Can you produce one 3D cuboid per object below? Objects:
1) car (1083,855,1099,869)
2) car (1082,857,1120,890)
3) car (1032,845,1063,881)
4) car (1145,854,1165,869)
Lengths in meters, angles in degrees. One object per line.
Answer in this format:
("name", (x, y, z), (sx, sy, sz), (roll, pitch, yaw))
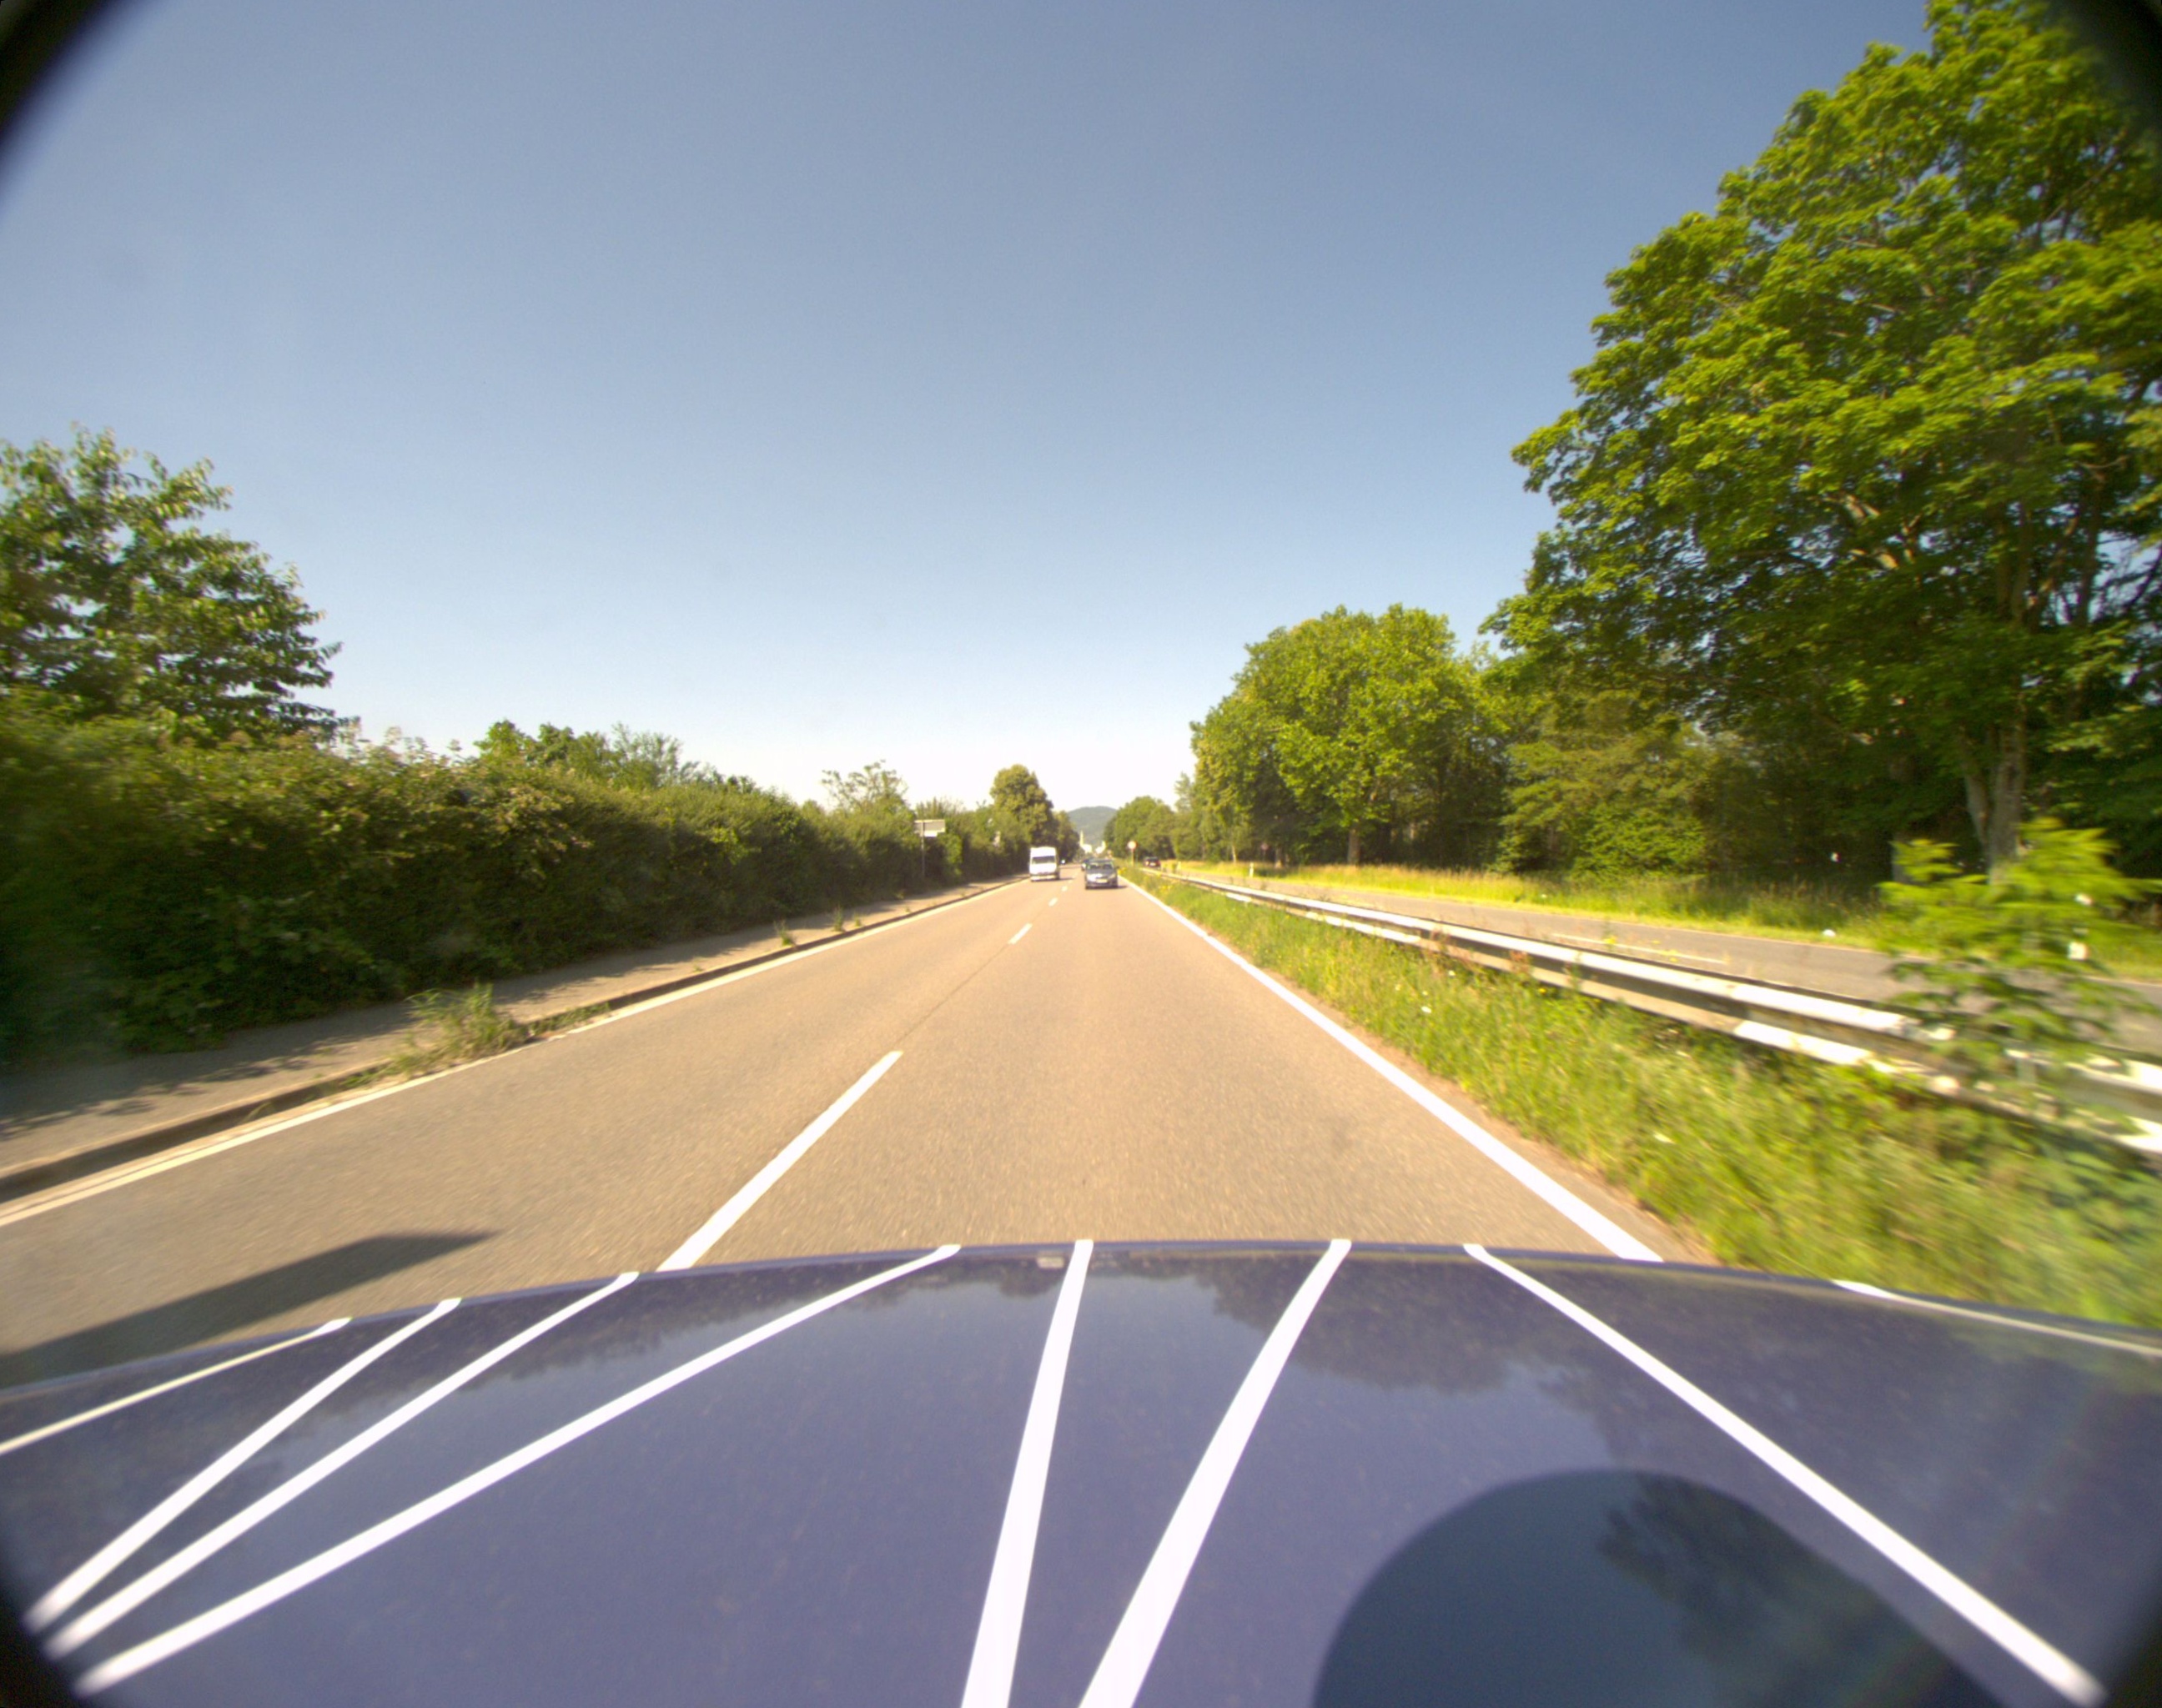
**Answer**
("car", (1.140, 0.857, 85.740), (1.678, 1.435, 3.622), (-2, 1, 1))
("car", (0.945, 0.908, 37.011), (1.678, 1.435, 4.361), (-2, 1, 1))
("car", (-2.431, 0.617, 56.356), (1.998, 2.432, 5.088), (-2, 1, 1))
("car", (7.411, 0.728, 76.656), (1.783, 1.521, 4.162), (0, 0, 2))
